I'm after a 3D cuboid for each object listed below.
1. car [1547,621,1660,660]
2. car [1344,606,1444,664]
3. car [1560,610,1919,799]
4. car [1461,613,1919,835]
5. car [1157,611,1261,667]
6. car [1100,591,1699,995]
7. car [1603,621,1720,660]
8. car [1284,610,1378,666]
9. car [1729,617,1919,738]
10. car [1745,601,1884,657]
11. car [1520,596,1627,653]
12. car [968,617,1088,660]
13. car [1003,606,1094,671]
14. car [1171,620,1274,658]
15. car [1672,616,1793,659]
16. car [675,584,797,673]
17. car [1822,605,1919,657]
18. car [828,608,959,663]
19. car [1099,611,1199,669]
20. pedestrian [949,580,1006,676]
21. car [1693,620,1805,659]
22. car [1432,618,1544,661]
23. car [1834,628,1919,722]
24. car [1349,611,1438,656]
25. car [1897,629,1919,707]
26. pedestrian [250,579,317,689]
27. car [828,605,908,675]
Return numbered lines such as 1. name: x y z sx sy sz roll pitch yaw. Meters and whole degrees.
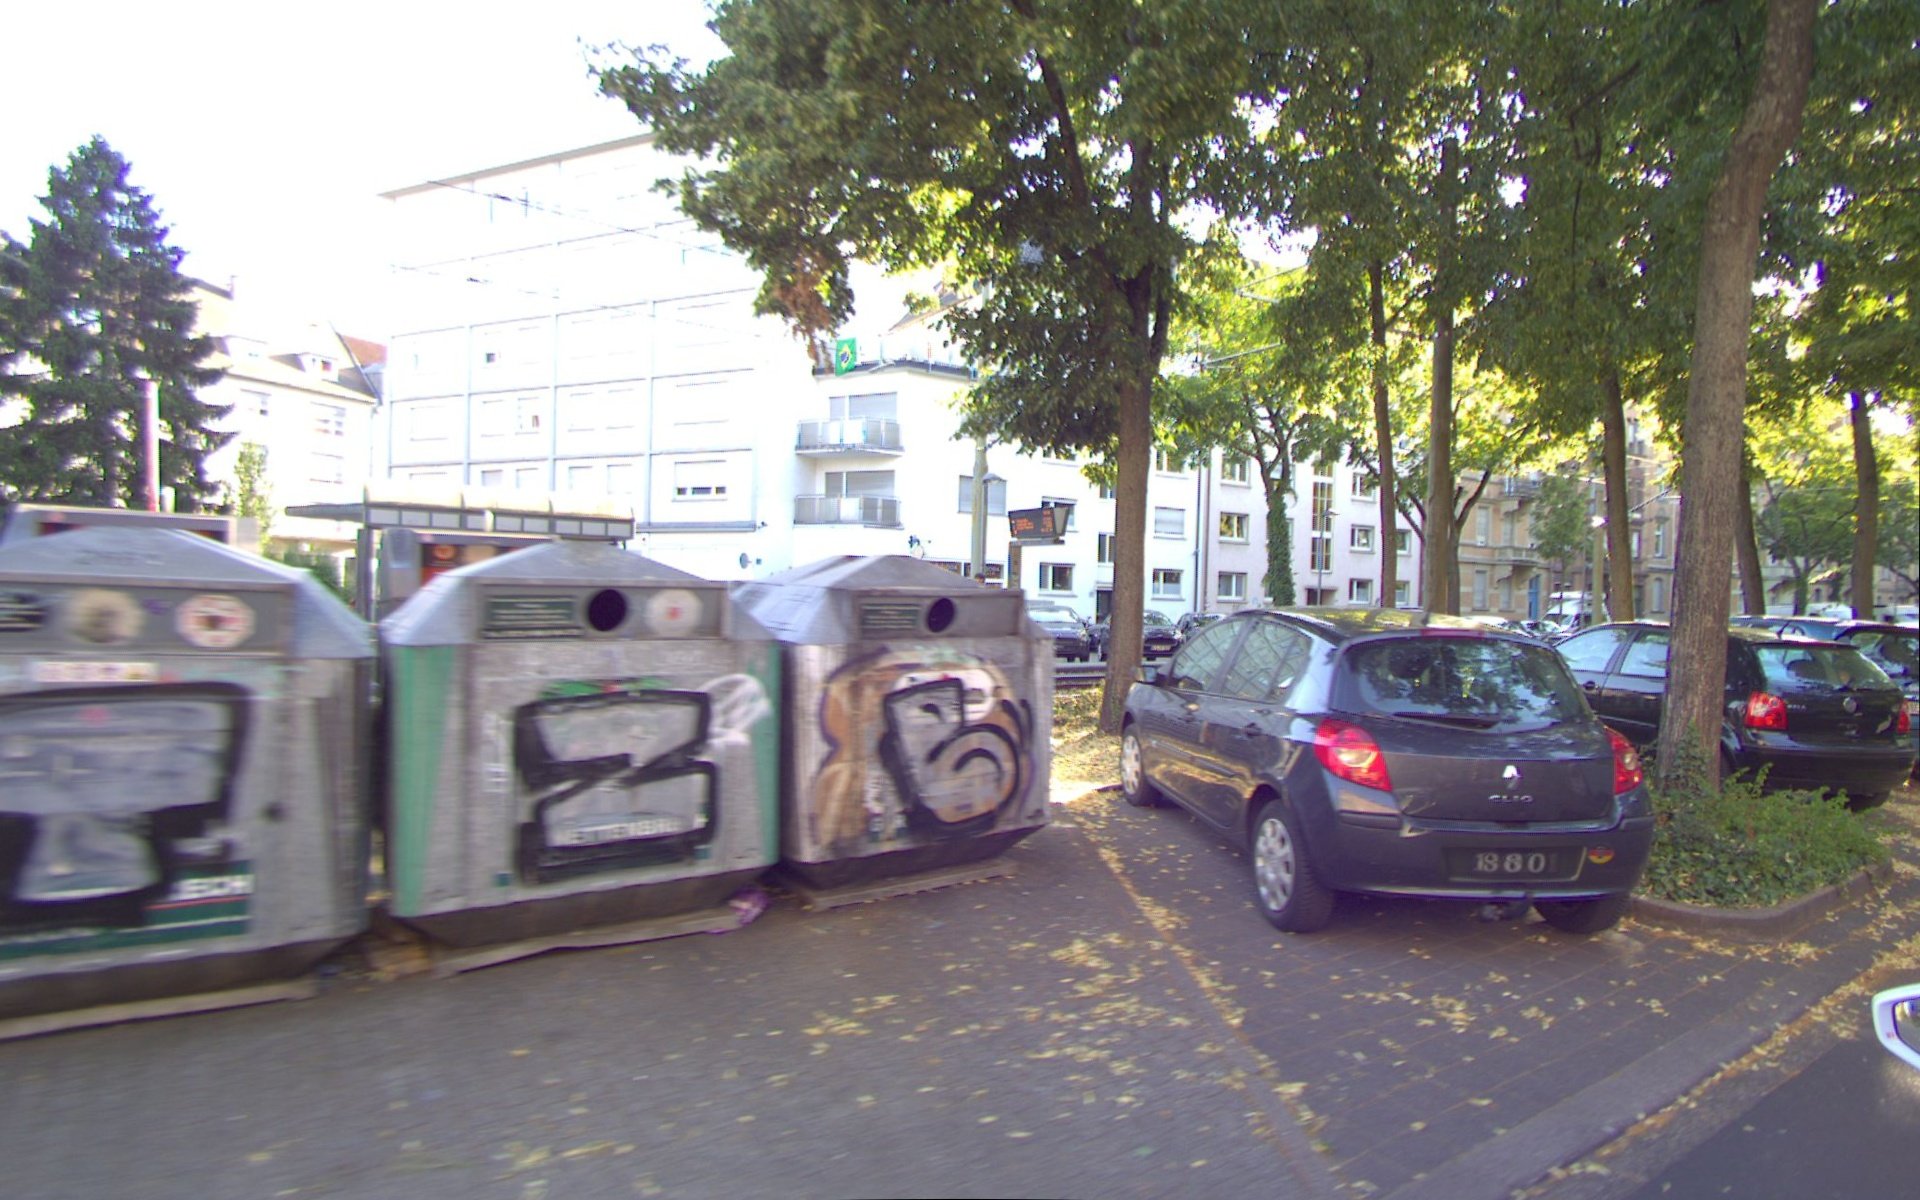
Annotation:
1. car: 26.723 1.736 41.880 1.821 1.492 4.242 0 -4 -2
2. car: 14.409 1.236 33.607 1.820 1.771 4.245 -1 -4 6
3. car: 8.751 1.010 11.237 1.577 1.583 3.614 1 2 -6
4. car: 6.572 0.977 9.422 1.578 1.467 3.614 1 2 -7
5. car: 7.105 1.186 29.096 1.577 1.477 4.239 0 -4 -6
6. car: 2.114 0.796 6.049 1.578 1.541 3.731 1 2 -7
7. car: 29.528 1.756 42.465 1.821 1.492 4.242 0 -4 -2
8. car: 11.884 1.288 32.462 1.820 1.672 4.245 -1 -4 6
9. car: 14.104 1.168 15.090 1.707 1.517 3.821 3 2 -11
10. car: 42.469 1.520 50.117 2.229 2.605 5.270 0 -4 -2
11. car: 32.961 1.341 53.920 5.413 2.925 2.542 1 -1 -28
12. car: 2.407 1.338 35.439 3.950 1.465 1.704 1 -1 -28
13. car: 2.203 1.053 26.067 1.577 1.527 4.239 0 -4 -6
14. car: 10.598 1.554 40.546 3.950 1.465 1.704 1 -1 -28
15. car: 33.403 1.681 43.586 1.821 1.721 4.242 0 -4 -2
16. car: -4.589 0.682 21.201 1.576 1.674 4.244 -1 -4 1
17. car: 50.034 1.741 54.215 2.229 2.605 5.270 0 -4 -2
18. car: -2.136 1.130 32.600 3.957 1.695 1.701 1 -1 -33
19. car: 5.124 1.160 27.787 1.577 1.477 4.239 0 -4 -6
20. pedestrian: 0.369 0.574 20.910 0.829 1.936 0.843 1 0 -34
21. car: 37.157 1.919 47.448 1.821 1.721 4.242 0 -4 -2
22. car: 19.598 1.523 37.522 1.821 1.492 4.242 0 -4 -2
23. car: 16.369 1.324 15.674 1.707 1.410 3.821 3 2 -11
24. car: 19.894 1.523 46.103 3.950 1.958 1.704 1 -1 -28
25. car: 18.918 1.380 17.243 1.707 1.410 3.821 3 2 -11
26. pedestrian: -11.264 0.546 16.756 0.861 1.759 0.824 1 1 -32
27. car: -2.110 0.966 23.129 1.668 1.455 4.205 0 -4 -5
